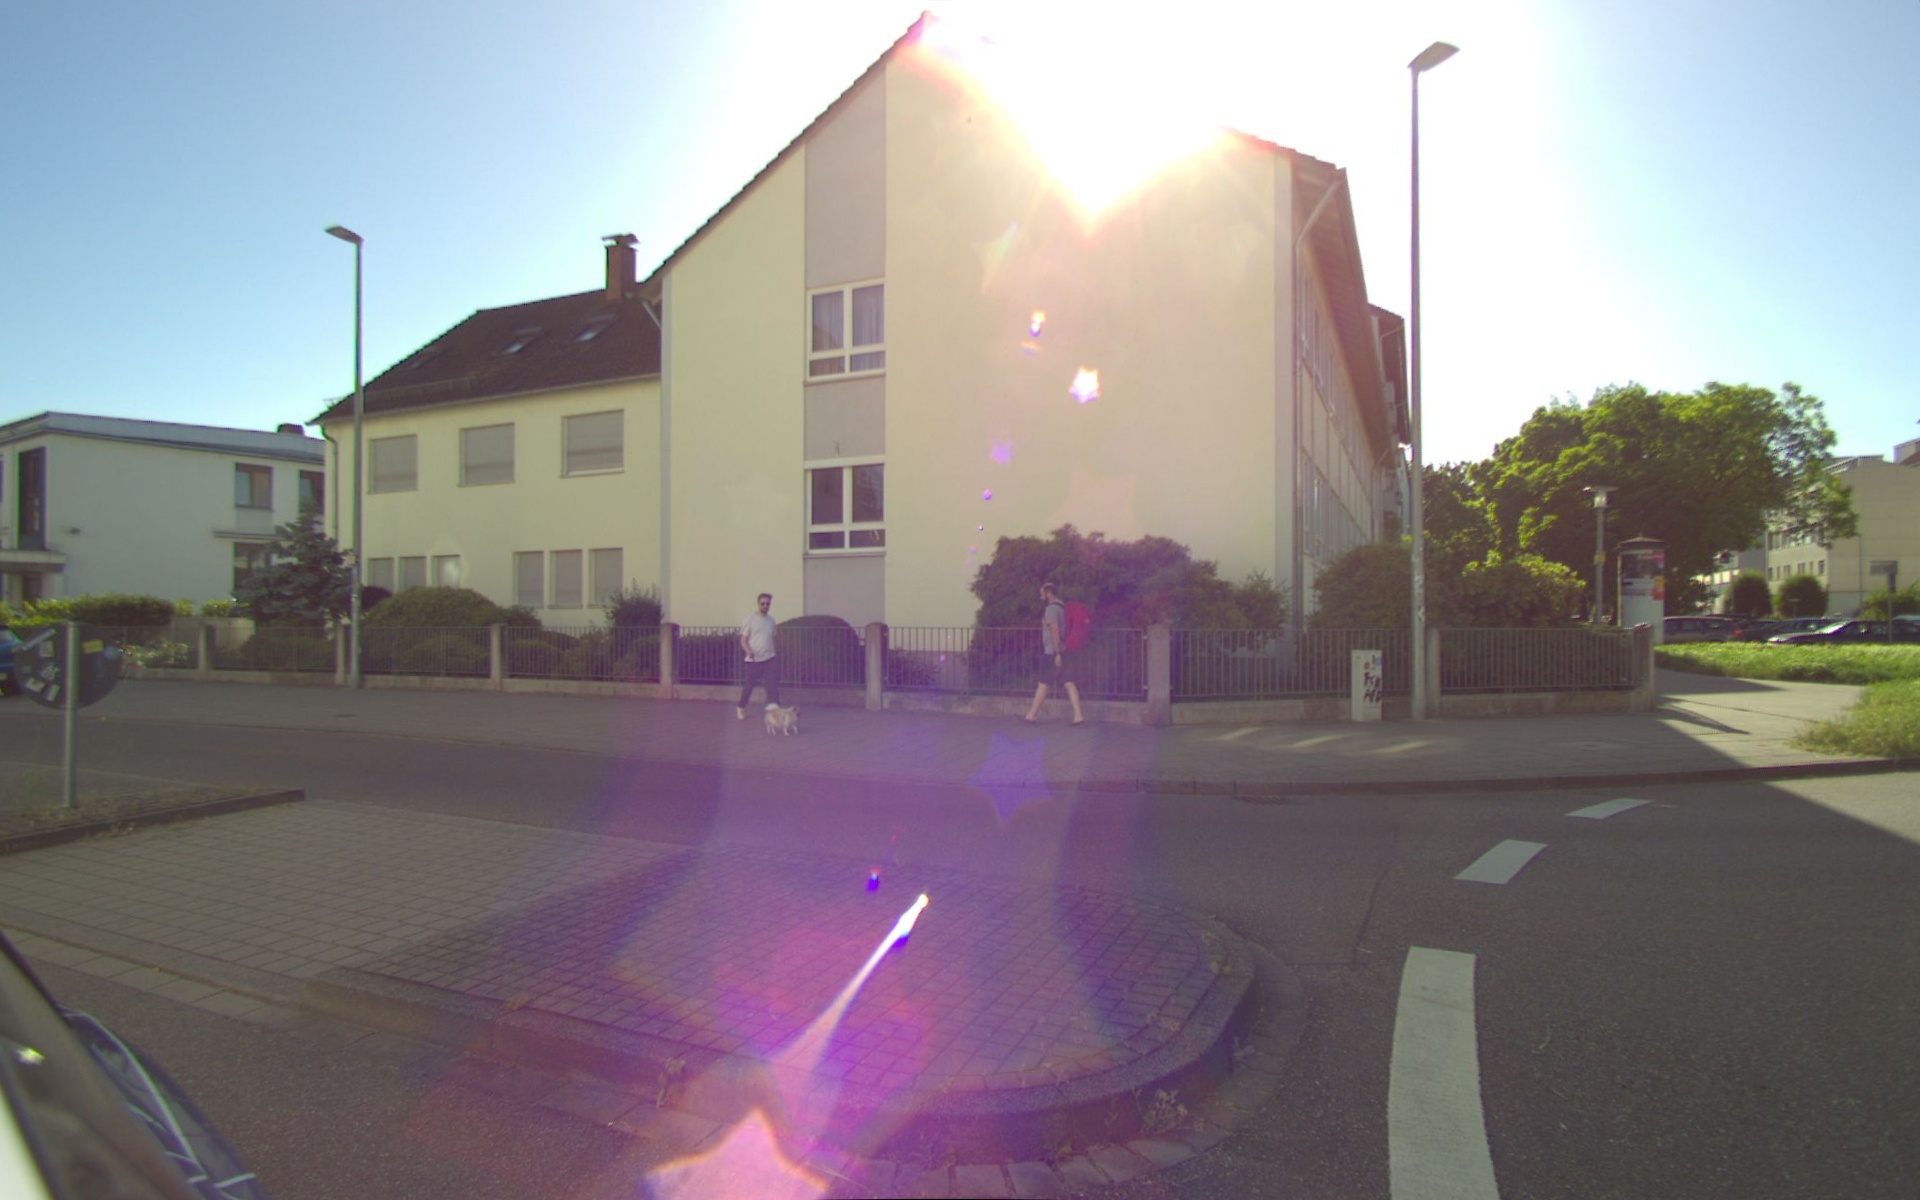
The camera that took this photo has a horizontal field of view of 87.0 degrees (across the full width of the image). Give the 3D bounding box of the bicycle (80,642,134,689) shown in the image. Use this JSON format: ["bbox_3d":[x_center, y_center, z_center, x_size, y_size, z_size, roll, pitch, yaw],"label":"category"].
[{"bbox_3d":[-18.750,1.430,22.242,1.254,1.023,0.343,-1,-2,22],"label":"bicycle"}]

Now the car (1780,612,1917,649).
[{"bbox_3d":[38.143,1.307,43.549,3.971,1.497,1.838,-1,-1,21],"label":"car"}]

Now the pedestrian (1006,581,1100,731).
[{"bbox_3d":[1.125,0.648,12.128,0.988,1.718,0.815,-1,0,16],"label":"pedestrian"}]

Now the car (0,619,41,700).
[{"bbox_3d":[-19.575,1.129,18.835,4.382,1.445,1.873,-1,0,21],"label":"car"}]

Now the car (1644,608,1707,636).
[{"bbox_3d":[40.137,1.227,56.842,1.837,1.534,3.974,-1,-1,20],"label":"car"}]

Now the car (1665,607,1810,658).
[{"bbox_3d":[28.115,1.163,36.790,3.988,1.785,1.978,-1,-2,33],"label":"car"}]

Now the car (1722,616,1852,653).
[{"bbox_3d":[34.660,1.440,42.548,3.988,1.475,1.978,-1,-2,33],"label":"car"}]

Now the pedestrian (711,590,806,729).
[{"bbox_3d":[-2.596,0.740,13.052,0.992,1.718,0.686,-1,0,28],"label":"pedestrian"}]

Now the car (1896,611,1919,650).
[{"bbox_3d":[43.242,1.341,44.328,1.868,1.708,4.241,-2,-1,22],"label":"car"}]

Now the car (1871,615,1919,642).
[{"bbox_3d":[50.531,1.524,53.971,1.841,1.390,3.964,-1,-2,26],"label":"car"}]
